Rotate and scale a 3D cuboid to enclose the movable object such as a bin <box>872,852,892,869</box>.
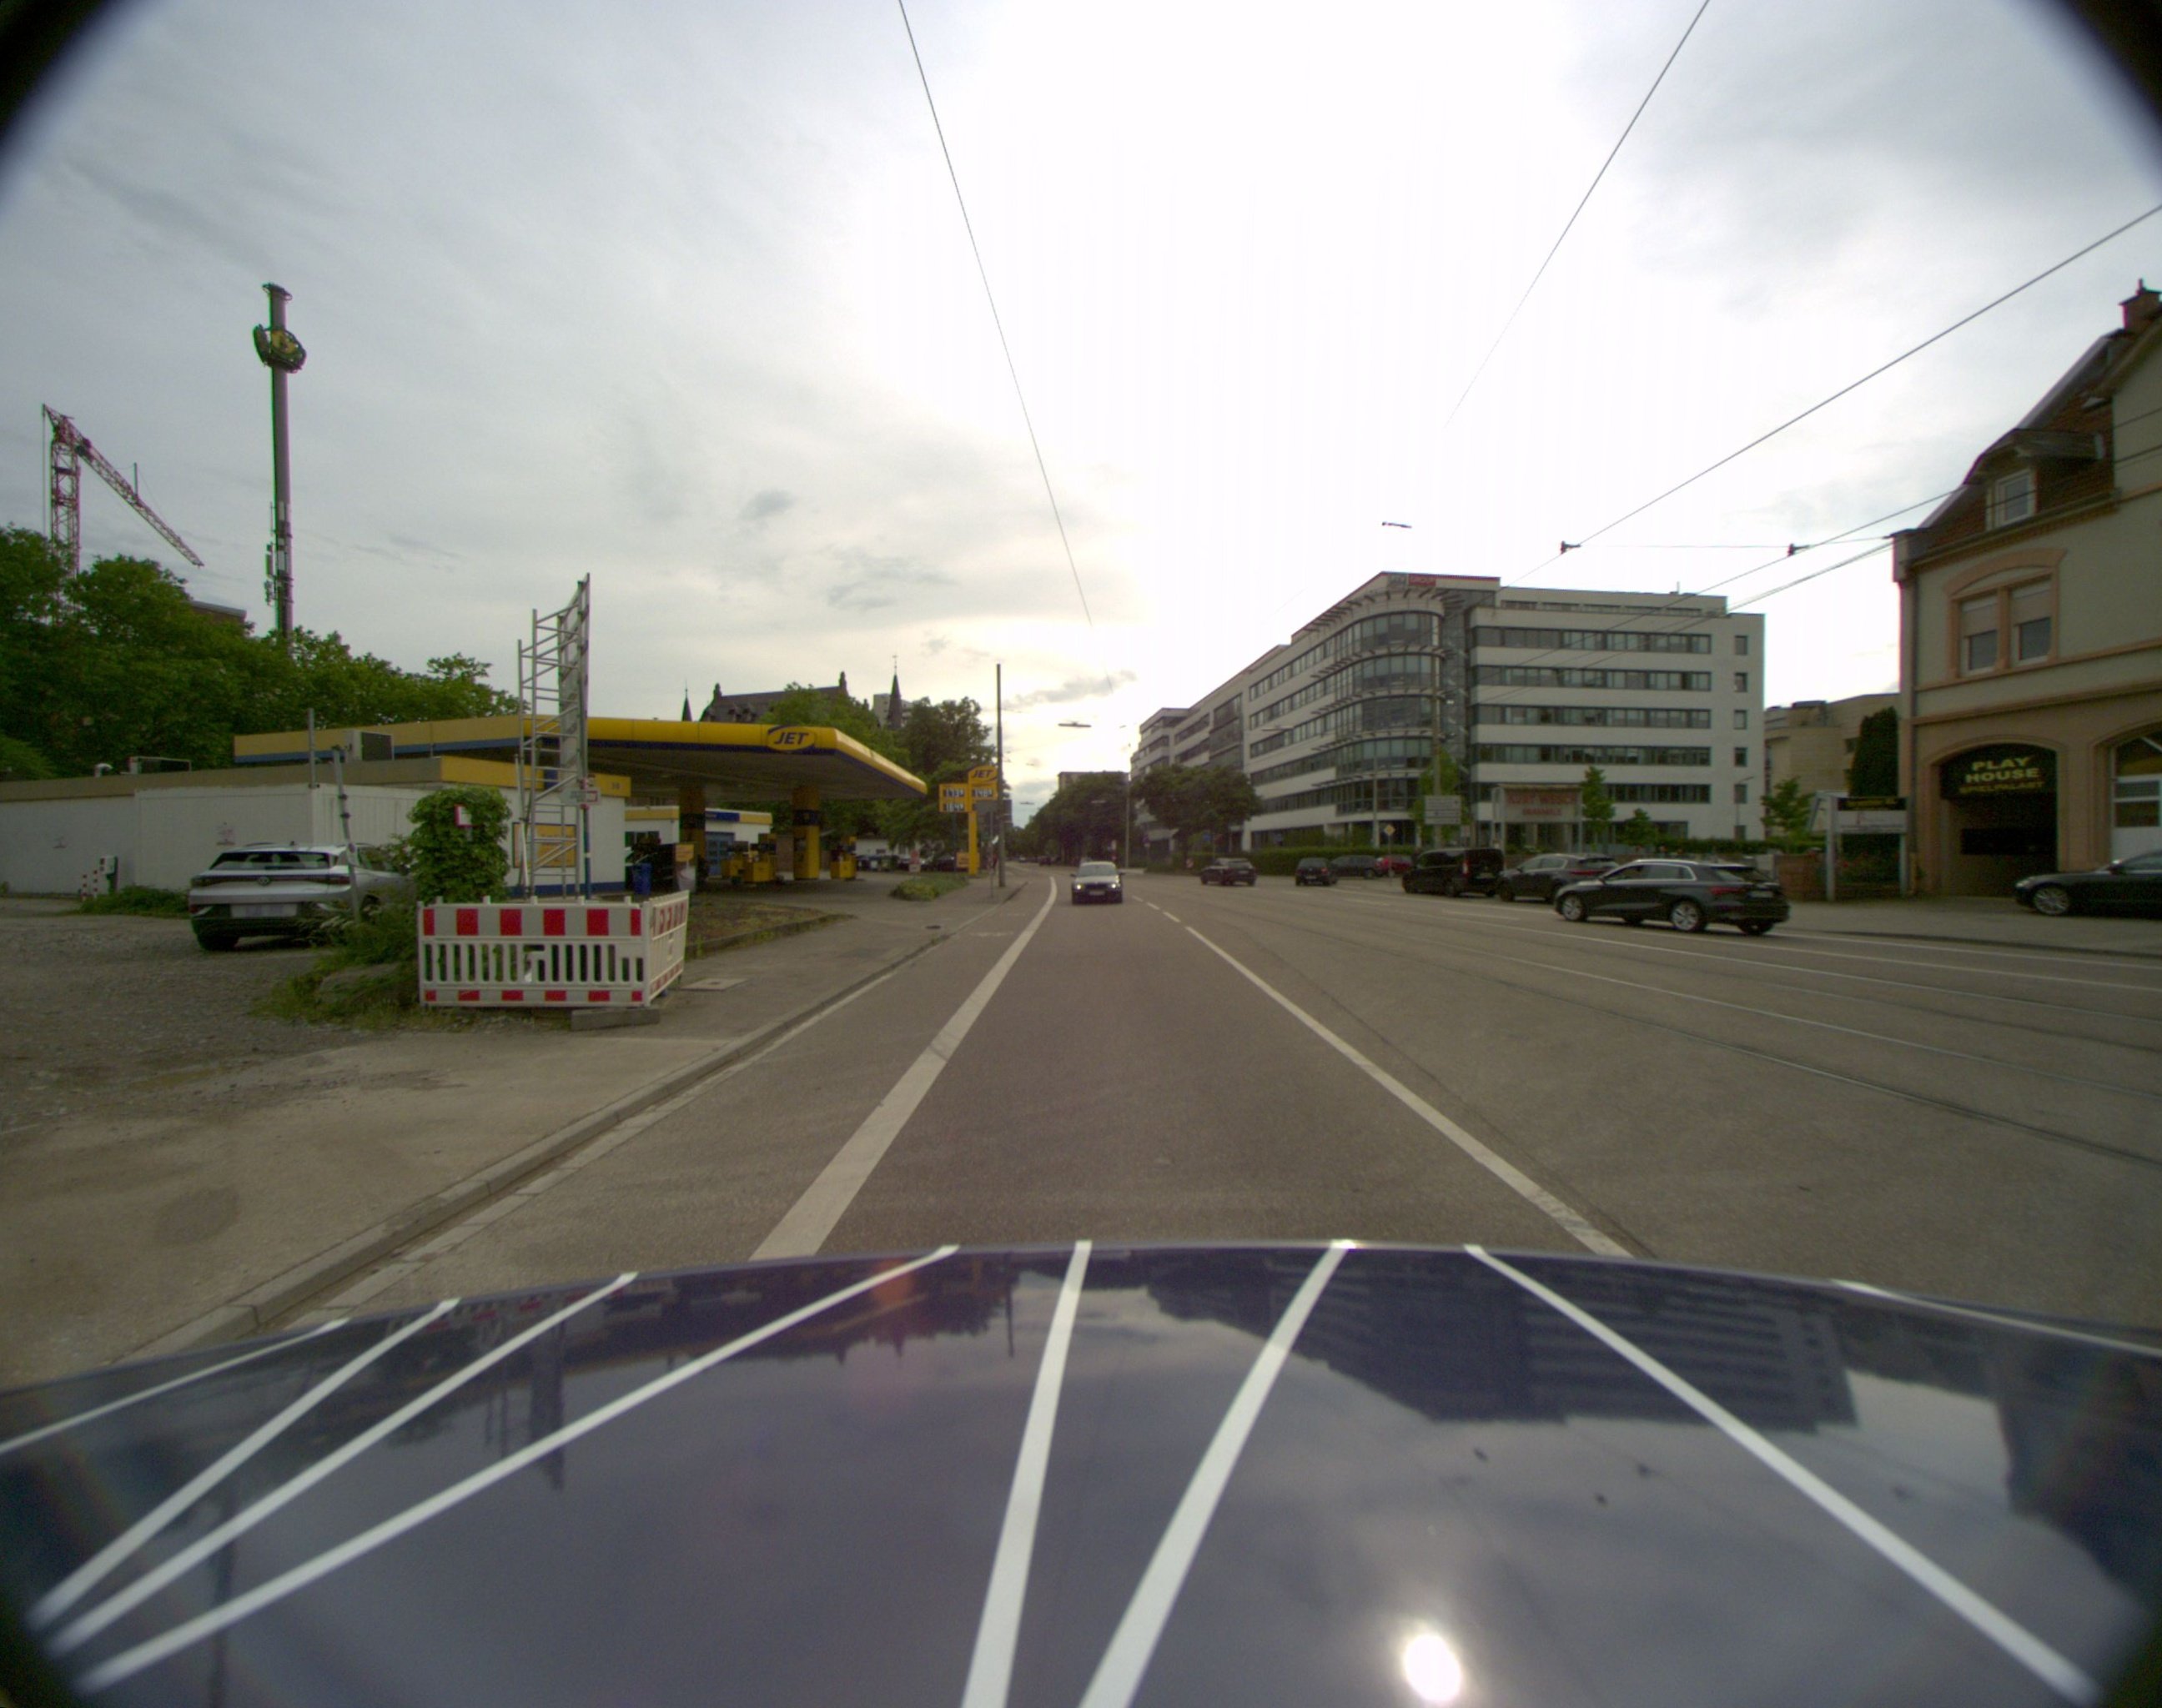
[{"bbox_3d":[-16.732,0.560,63.842,1.118,1.351,1.162,-1,1,28],"label":"movable object such as a bin"}]

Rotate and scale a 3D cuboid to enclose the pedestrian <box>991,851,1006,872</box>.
[{"bbox_3d":[-6.947,0.659,64.111,0.871,1.738,0.848,2,1,-32],"label":"pedestrian"}]

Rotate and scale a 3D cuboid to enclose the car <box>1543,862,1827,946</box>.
[{"bbox_3d":[12.160,0.917,15.761,1.888,1.420,4.419,1,0,-12],"label":"car"}]

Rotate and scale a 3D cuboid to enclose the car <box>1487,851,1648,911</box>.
[{"bbox_3d":[15.945,0.825,25.251,2.043,1.739,4.532,-2,0,-7],"label":"car"}]

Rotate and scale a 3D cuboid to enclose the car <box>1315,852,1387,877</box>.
[{"bbox_3d":[16.427,0.634,46.418,3.979,1.443,1.818,0,1,15],"label":"car"}]

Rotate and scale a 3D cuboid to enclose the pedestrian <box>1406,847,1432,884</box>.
[{"bbox_3d":[17.050,0.575,38.318,0.806,1.814,1.059,-1,1,-3],"label":"pedestrian"}]

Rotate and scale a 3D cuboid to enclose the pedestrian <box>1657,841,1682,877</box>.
[{"bbox_3d":[29.648,0.249,38.287,0.636,1.764,0.761,-1,1,-1],"label":"pedestrian"}]

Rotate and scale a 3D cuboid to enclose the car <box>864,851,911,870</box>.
[{"bbox_3d":[-18.139,0.584,71.512,3.999,1.657,1.999,-1,1,-6],"label":"car"}]

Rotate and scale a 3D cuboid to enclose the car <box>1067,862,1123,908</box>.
[{"bbox_3d":[0.503,1.036,26.729,1.786,1.361,4.113,-1,1,1],"label":"car"}]

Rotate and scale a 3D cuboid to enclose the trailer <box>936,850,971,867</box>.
[{"bbox_3d":[-12.428,0.479,74.264,3.292,1.523,1.772,1,3,-7],"label":"trailer"}]

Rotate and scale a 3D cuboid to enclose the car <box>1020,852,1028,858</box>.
[{"bbox_3d":[-15.682,0.288,207.566,1.802,1.537,4.476,-1,1,-10],"label":"car"}]

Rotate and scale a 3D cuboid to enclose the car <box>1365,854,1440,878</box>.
[{"bbox_3d":[20.487,0.774,48.462,4.019,1.413,1.725,-1,-1,-7],"label":"car"}]

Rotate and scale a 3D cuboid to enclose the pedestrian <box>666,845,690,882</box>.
[{"bbox_3d":[-19.250,0.448,36.292,0.706,1.777,0.628,-1,1,21],"label":"pedestrian"}]

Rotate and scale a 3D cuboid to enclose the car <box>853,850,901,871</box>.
[{"bbox_3d":[-18.058,0.566,67.421,1.807,1.686,4.033,-1,1,30],"label":"car"}]

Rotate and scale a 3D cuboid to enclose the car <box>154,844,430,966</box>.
[{"bbox_3d":[-12.569,0.678,12.499,2.003,1.628,3.940,0,1,-28],"label":"car"}]

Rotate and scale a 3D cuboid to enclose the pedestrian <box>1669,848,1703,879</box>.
[{"bbox_3d":[38.983,0.604,48.966,1.217,2.002,1.186,0,1,-19],"label":"pedestrian"}]

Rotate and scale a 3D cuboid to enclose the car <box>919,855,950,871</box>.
[{"bbox_3d":[-12.650,0.750,65.797,1.999,1.281,3.998,-1,1,-3],"label":"car"}]

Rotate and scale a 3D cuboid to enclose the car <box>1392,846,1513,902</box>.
[{"bbox_3d":[15.006,0.729,31.064,1.992,2.002,5.182,-2,1,-5],"label":"car"}]

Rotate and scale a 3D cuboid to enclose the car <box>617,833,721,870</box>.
[{"bbox_3d":[-21.792,-0.092,40.398,1.982,1.832,4.536,2,0,23],"label":"car"}]

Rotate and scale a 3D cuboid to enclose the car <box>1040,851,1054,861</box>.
[{"bbox_3d":[-6.124,0.303,137.038,1.848,1.714,4.403,0,0,-10],"label":"car"}]

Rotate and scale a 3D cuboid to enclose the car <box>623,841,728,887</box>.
[{"bbox_3d":[-18.455,0.386,34.856,1.821,1.977,4.258,1,1,15],"label":"car"}]

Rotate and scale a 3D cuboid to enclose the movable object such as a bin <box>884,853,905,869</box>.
[{"bbox_3d":[-15.554,0.566,63.407,1.118,1.312,1.162,-1,1,28],"label":"movable object such as a bin"}]

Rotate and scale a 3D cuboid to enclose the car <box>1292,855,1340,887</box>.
[{"bbox_3d":[12.265,0.844,39.520,1.791,1.521,4.149,2,0,25],"label":"car"}]

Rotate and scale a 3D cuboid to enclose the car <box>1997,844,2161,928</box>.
[{"bbox_3d":[21.354,0.601,14.354,1.999,1.484,4.900,-3,1,-4],"label":"car"}]

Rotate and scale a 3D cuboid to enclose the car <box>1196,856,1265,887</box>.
[{"bbox_3d":[7.747,0.890,39.985,1.911,1.464,4.815,1,0,-11],"label":"car"}]
